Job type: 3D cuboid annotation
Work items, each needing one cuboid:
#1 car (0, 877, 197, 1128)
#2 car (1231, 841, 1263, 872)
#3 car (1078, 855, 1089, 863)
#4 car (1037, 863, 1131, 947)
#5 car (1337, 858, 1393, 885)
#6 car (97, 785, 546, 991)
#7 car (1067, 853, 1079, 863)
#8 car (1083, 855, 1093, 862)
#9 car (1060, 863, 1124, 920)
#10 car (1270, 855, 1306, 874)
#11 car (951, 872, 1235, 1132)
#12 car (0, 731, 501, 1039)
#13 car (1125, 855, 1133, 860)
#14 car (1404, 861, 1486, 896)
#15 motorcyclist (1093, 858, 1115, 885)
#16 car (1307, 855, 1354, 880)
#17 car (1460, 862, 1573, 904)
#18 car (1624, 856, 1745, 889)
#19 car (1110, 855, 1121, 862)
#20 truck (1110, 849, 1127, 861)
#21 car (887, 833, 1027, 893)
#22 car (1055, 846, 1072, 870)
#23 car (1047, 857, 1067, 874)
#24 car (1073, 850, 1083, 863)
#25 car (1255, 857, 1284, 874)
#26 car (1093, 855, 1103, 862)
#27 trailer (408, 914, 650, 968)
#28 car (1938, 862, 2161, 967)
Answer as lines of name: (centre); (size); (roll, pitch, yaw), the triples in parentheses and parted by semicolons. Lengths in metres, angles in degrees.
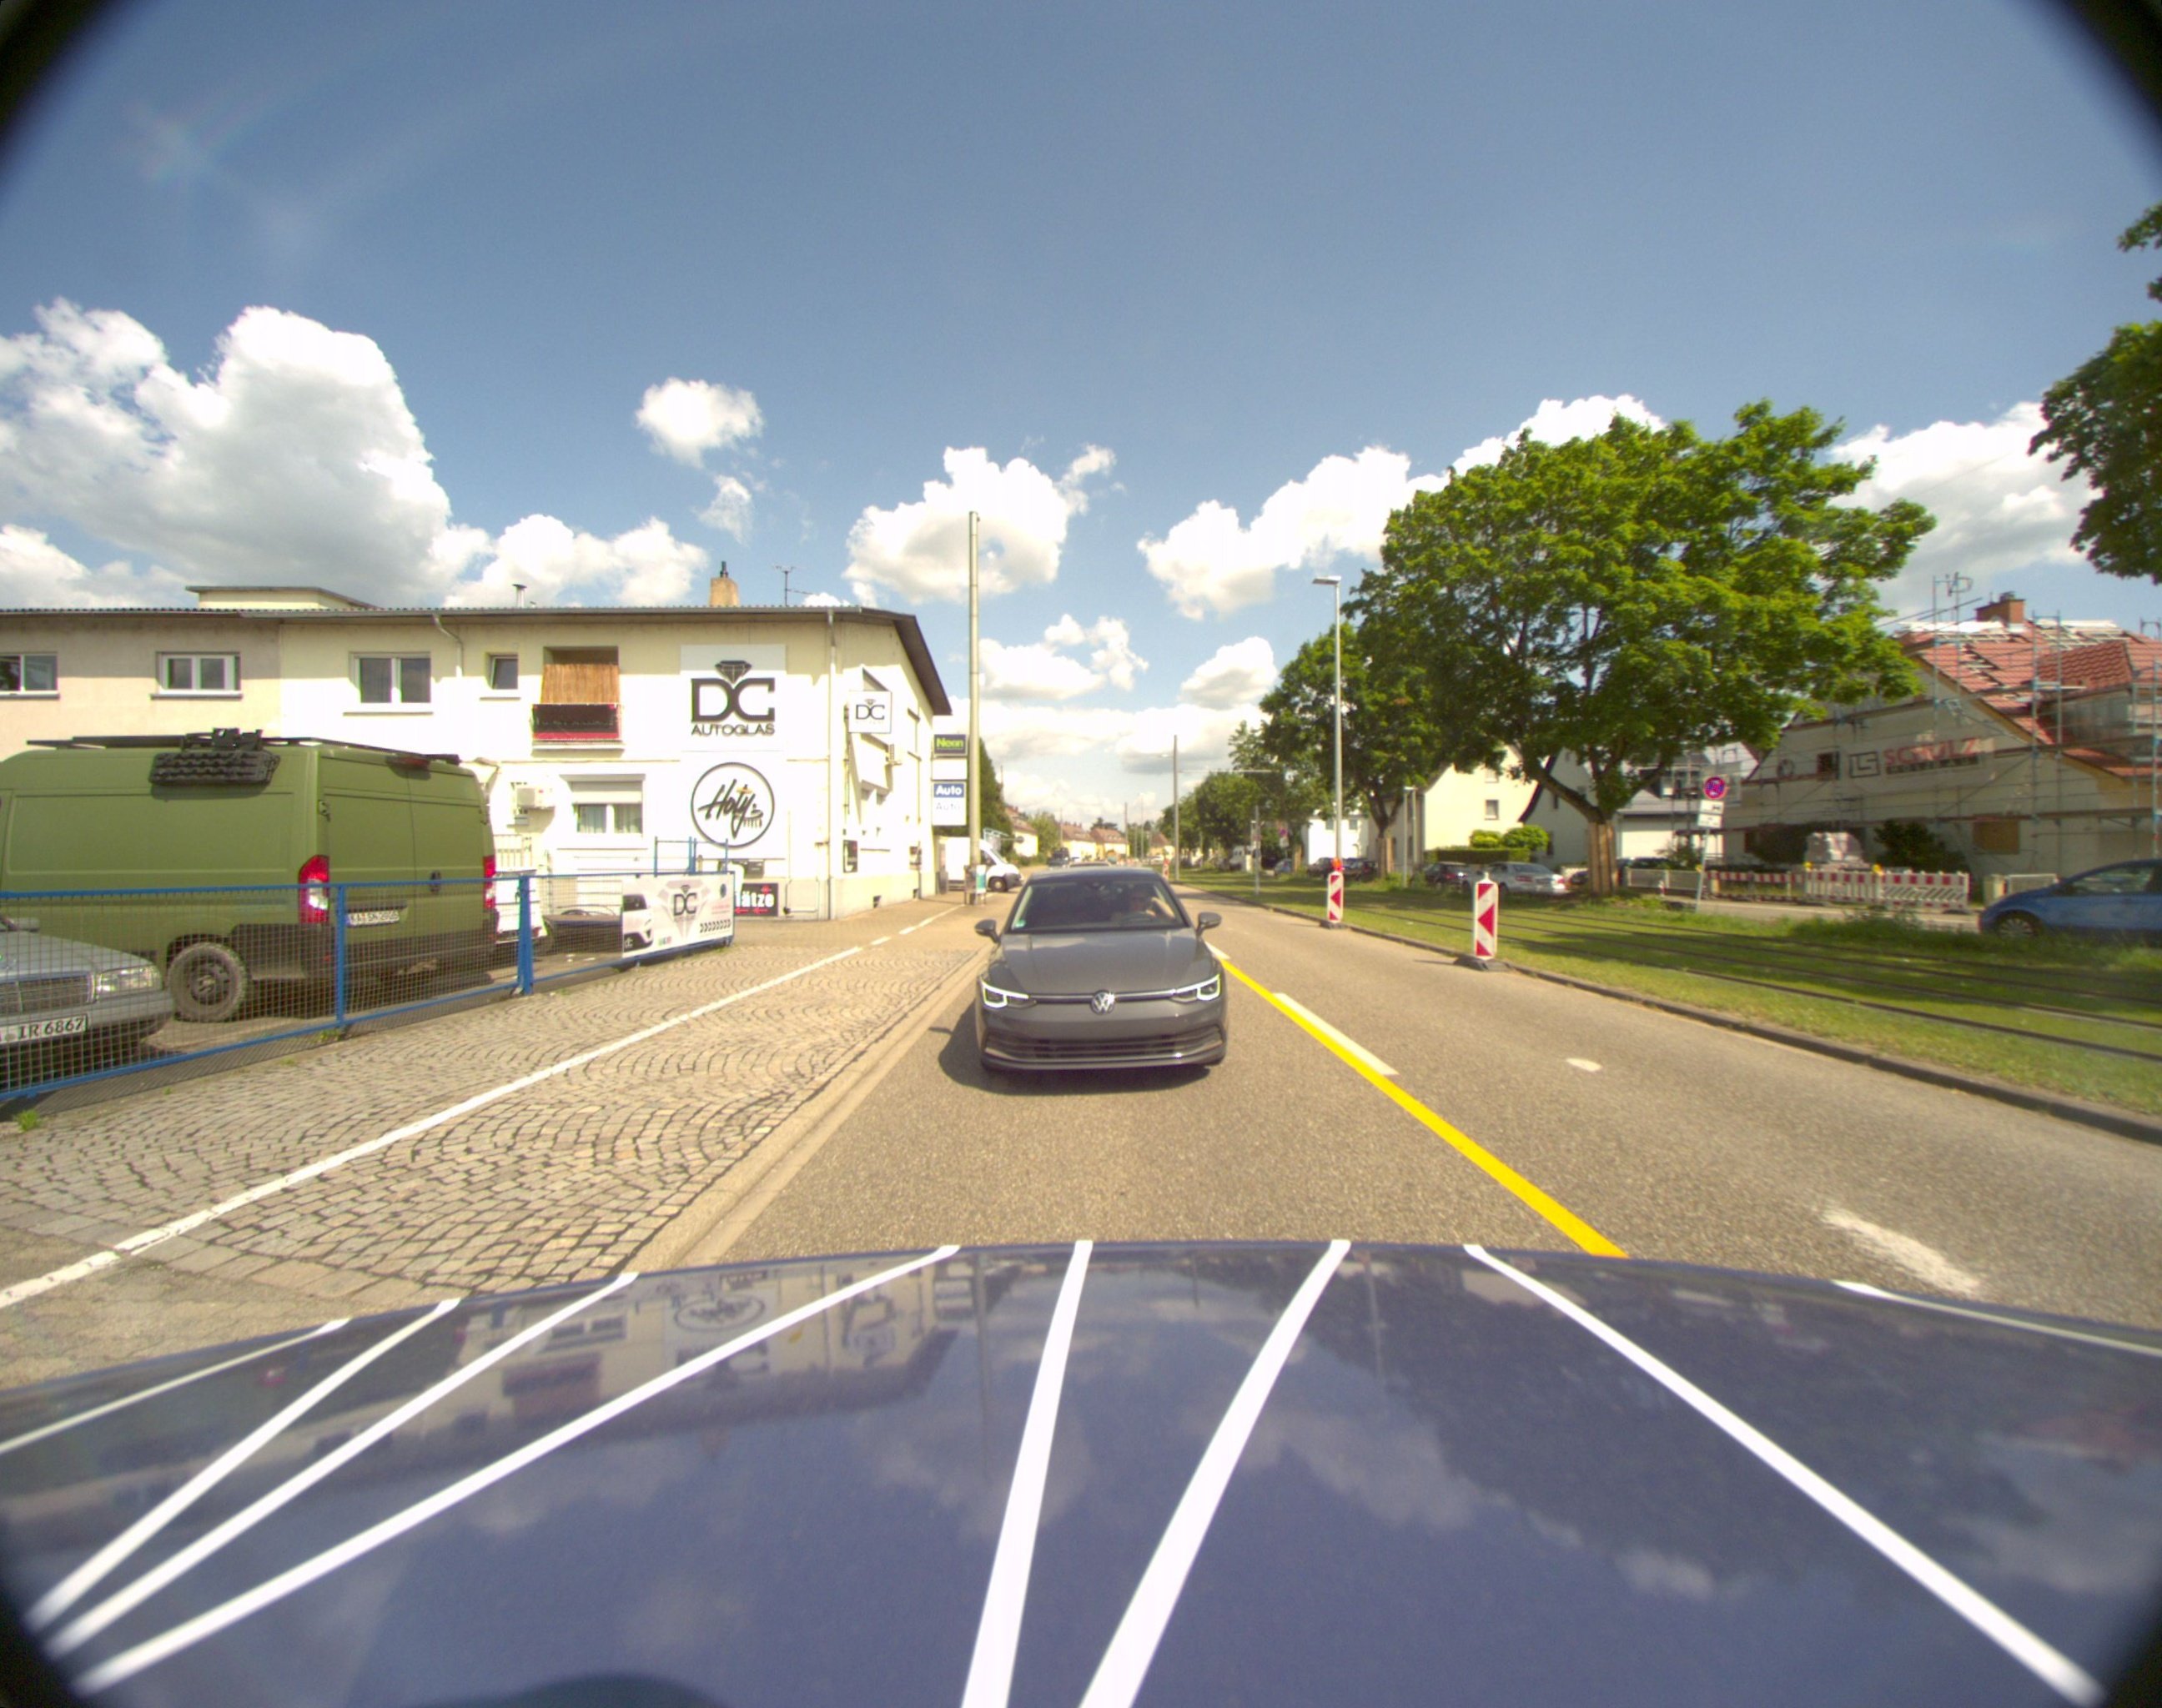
car: (-8.455, 0.891, 4.778); (4.282, 1.444, 1.713); (0, 0, 8)
car: (16.825, 0.281, 77.274); (2.136, 3.019, 5.084); (-1, -1, 1)
car: (0.497, 0.914, 146.711); (1.701, 1.574, 4.002); (0, 0, 6)
car: (0.083, 0.944, 15.747); (1.702, 1.477, 4.000); (0, 0, 1)
car: (16.776, 1.041, 45.158); (1.702, 1.477, 4.407); (-1, -1, 1)
car: (-9.497, 0.405, 9.718); (4.207, 2.392, 1.586); (0, 0, 2)
car: (-1.304, 0.682, 123.044); (1.701, 1.574, 4.001); (0, 0, 3)
car: (1.456, 0.918, 155.841); (1.701, 1.574, 4.002); (0, 0, 7)
car: (0.312, 1.014, 22.257); (1.702, 1.477, 4.000); (0, 0, 1)
car: (16.651, 0.882, 61.284); (1.702, 1.477, 4.407); (-1, -1, 1)
car: (0.100, 0.938, 6.574); (1.702, 1.477, 4.000); (0, 0, 1)
car: (-8.722, 0.273, 7.614); (4.207, 2.627, 2.113); (0, 0, 2)
car: (13.838, 0.961, 218.685); (1.700, 1.574, 4.005); (0, 0, 16)
car: (16.631, 1.125, 34.940); (1.702, 1.477, 4.407); (-1, -1, 1)
motorcyclist: (1.094, 0.817, 35.721); (0.777, 1.284, 0.660); (0, 1, 39)
car: (16.560, 0.905, 50.664); (1.702, 1.562, 4.407); (-1, -1, 1)
car: (16.426, 1.071, 28.968); (1.788, 1.477, 4.523); (-1, -1, 2)
car: (28.911, 0.896, 36.513); (4.402, 1.477, 1.704); (-1, -1, 1)
car: (7.487, 0.969, 165.346); (2.117, 1.477, 4.408); (0, 0, 7)
truck: (9.928, 0.158, 201.054); (2.710, 3.119, 8.124); (0, 0, 15)
car: (-5.463, 0.406, 34.101); (5.836, 2.449, 2.092); (2, 0, 1)
car: (-1.905, 0.457, 82.443); (1.702, 2.510, 5.144); (0, 0, 0)
car: (-2.178, 1.054, 70.758); (1.702, 1.574, 4.000); (0, 0, 1)
car: (-0.482, 0.431, 136.213); (1.701, 2.233, 4.947); (0, 0, 2)
car: (17.654, 1.085, 71.329); (1.702, 1.477, 4.407); (-1, -1, 1)
car: (3.861, 0.925, 173.601); (1.700, 1.574, 4.004); (0, 0, 12)
trailer: (-8.363, 1.309, 11.664); (2.733, 0.662, 1.329); (0, 0, -1)
car: (16.197, 0.870, 11.402); (1.702, 1.477, 4.407); (-1, -1, 1)
